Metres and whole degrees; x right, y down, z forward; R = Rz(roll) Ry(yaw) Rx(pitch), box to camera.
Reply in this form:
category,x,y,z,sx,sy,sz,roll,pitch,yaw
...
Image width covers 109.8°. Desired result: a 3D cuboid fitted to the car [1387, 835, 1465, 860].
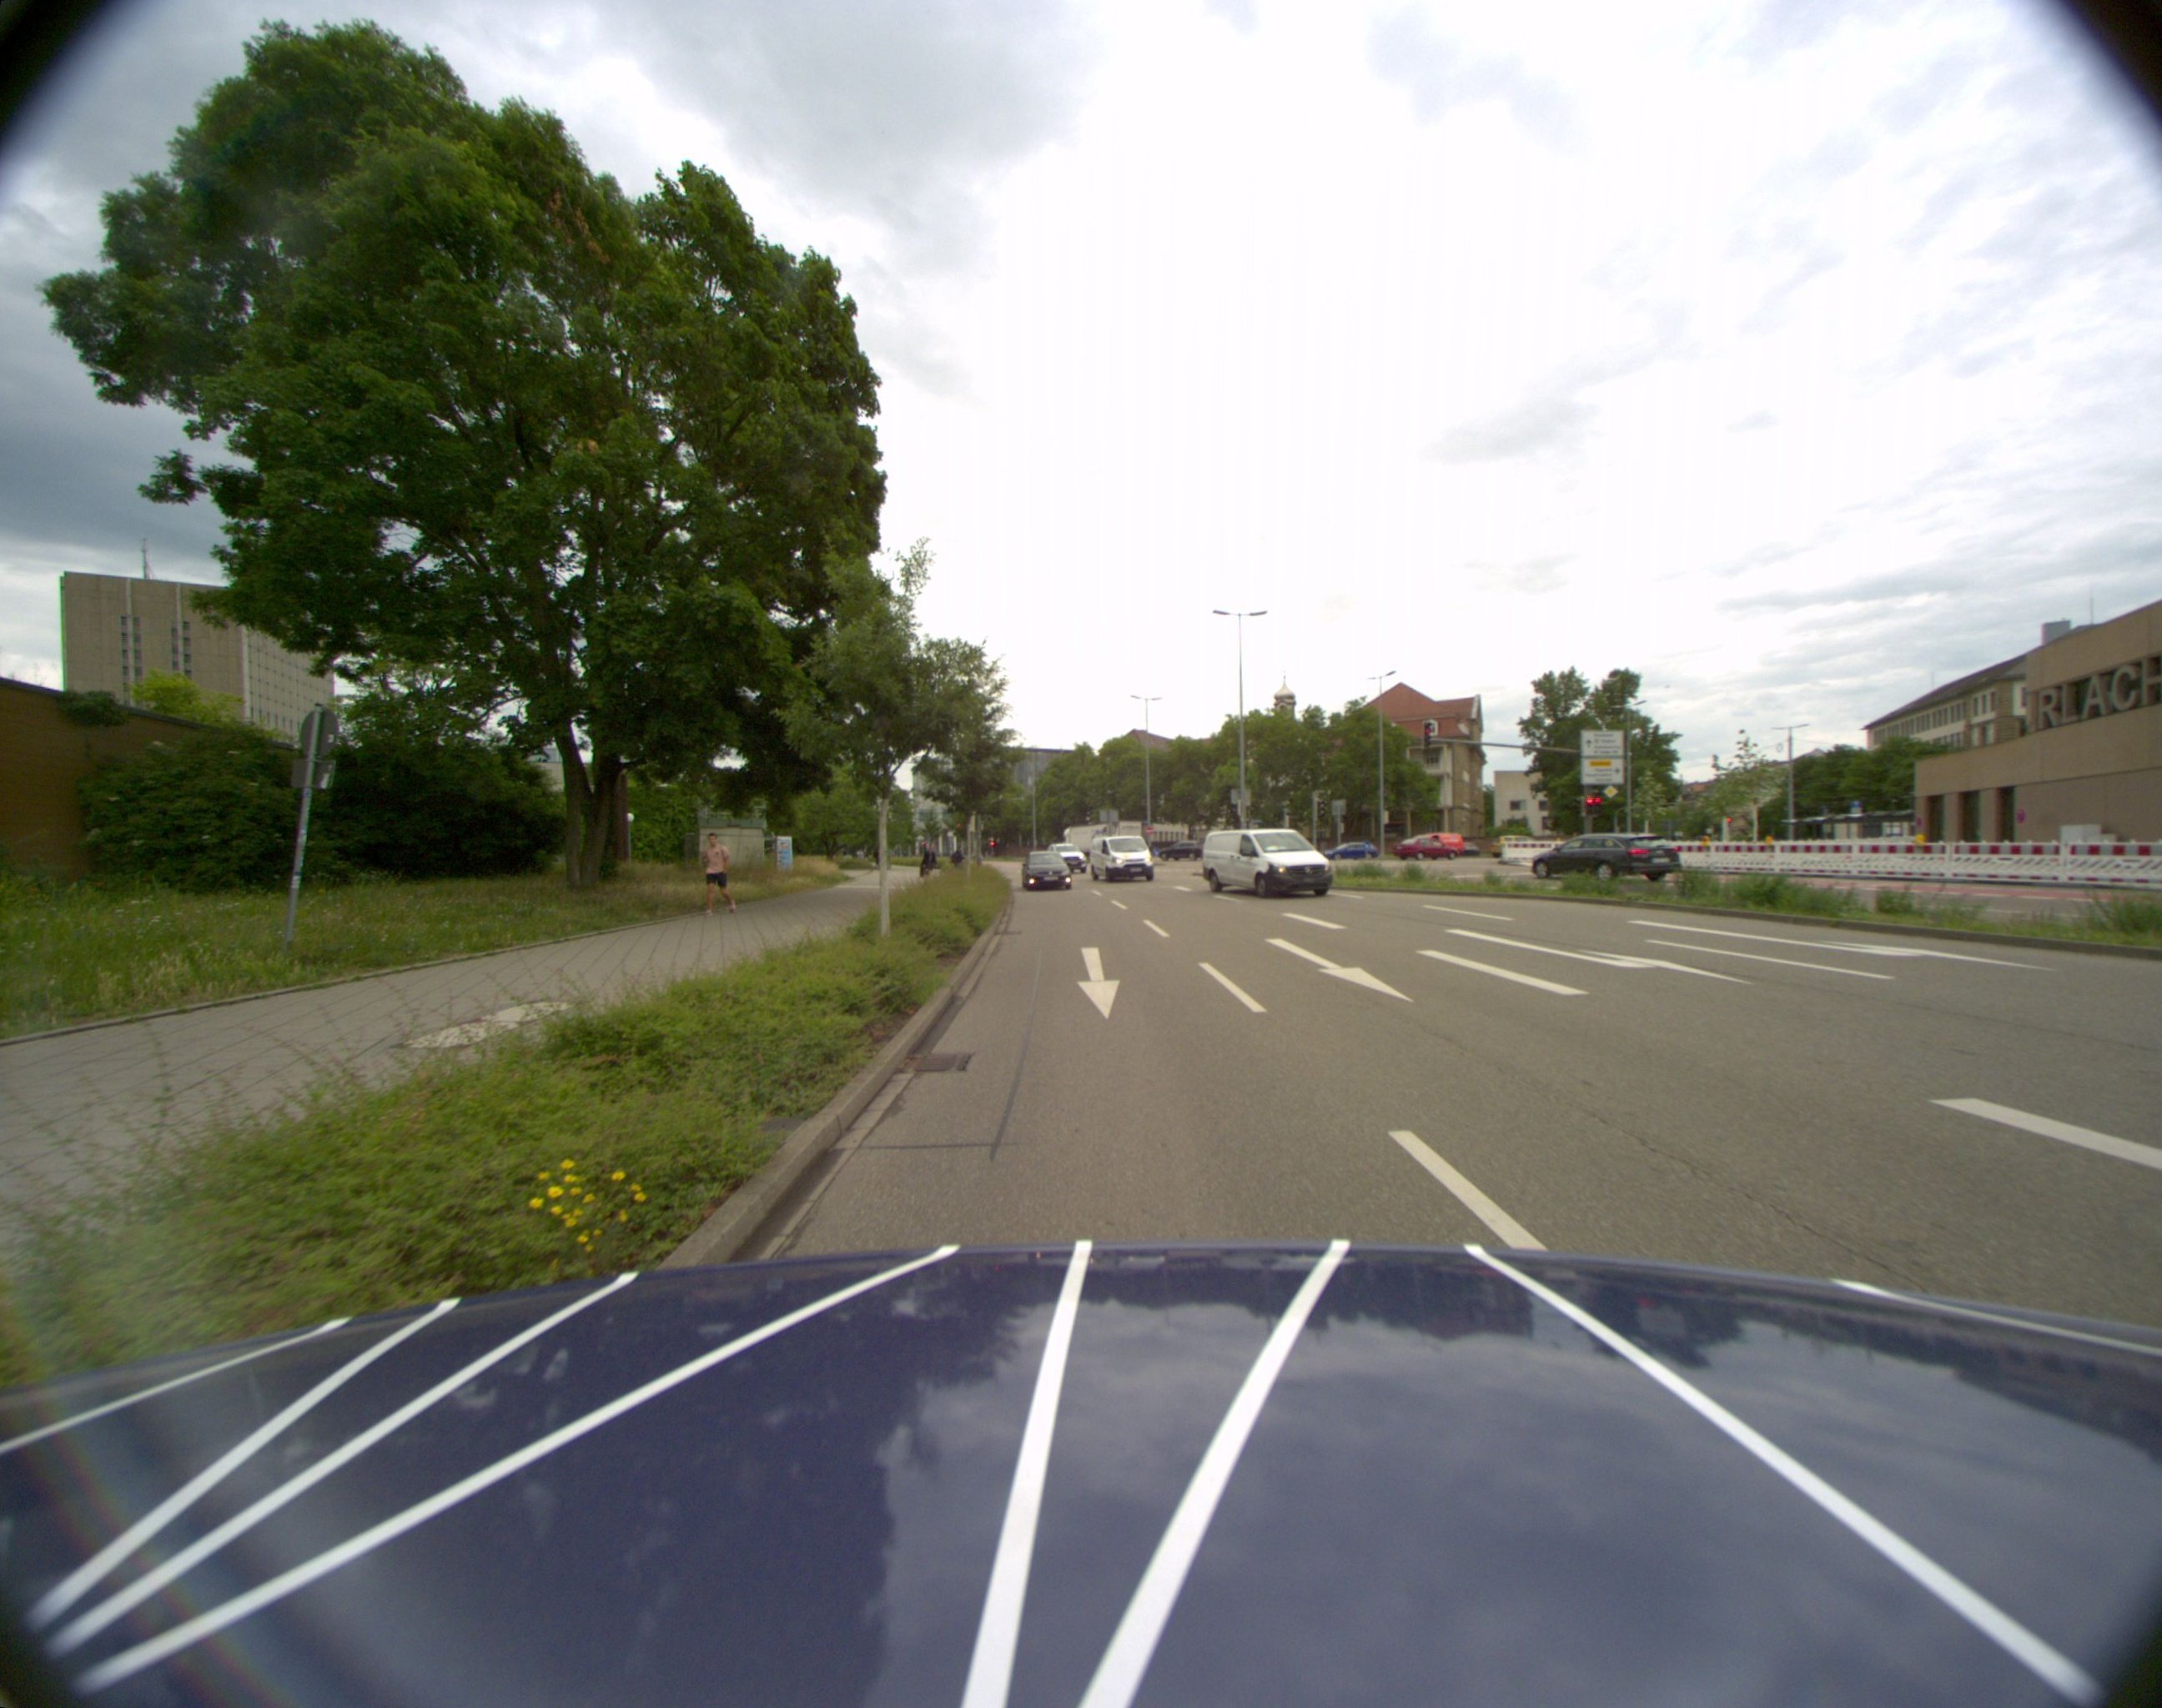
category,x,y,z,sx,sy,sz,roll,pitch,yaw
car,22.180,-0.426,48.837,4.349,1.531,1.910,-1,1,-16

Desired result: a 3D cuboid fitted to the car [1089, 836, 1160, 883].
category,x,y,z,sx,sy,sz,roll,pitch,yaw
car,1.825,0.210,33.624,2.000,1.931,4.518,-1,1,-12

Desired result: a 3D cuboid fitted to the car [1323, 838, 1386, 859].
category,x,y,z,sx,sy,sz,roll,pitch,yaw
car,21.832,-0.461,60.619,4.347,1.531,1.911,-1,1,-9

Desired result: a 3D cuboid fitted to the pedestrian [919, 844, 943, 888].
category,x,y,z,sx,sy,sz,roll,pitch,yaw
pedestrian,-6.201,0.477,31.459,0.723,1.790,0.596,1,2,-42

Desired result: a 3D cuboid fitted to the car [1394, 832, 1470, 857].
category,x,y,z,sx,sy,sz,roll,pitch,yaw
car,25.851,-0.728,55.960,5.247,1.707,1.910,-1,1,-19

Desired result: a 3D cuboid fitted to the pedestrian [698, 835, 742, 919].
category,x,y,z,sx,sy,sz,roll,pitch,yaw
pedestrian,-7.882,0.498,16.600,0.630,1.790,0.597,2,1,1

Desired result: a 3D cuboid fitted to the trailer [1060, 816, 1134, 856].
category,x,y,z,sx,sy,sz,roll,pitch,yaw
trailer,1.518,-1.854,85.192,2.950,3.990,13.785,-3,1,-22

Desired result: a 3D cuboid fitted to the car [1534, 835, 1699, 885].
category,x,y,z,sx,sy,sz,roll,pitch,yaw
car,16.333,0.156,23.464,2.000,1.390,3.997,-1,1,-7

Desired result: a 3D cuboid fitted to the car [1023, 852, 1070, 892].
category,x,y,z,sx,sy,sz,roll,pitch,yaw
car,-1.369,0.633,29.454,1.656,1.404,3.998,-1,1,-4

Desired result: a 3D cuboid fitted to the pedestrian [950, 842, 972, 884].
category,x,y,z,sx,sy,sz,roll,pitch,yaw
pedestrian,-5.317,0.400,33.722,0.723,1.790,0.596,1,2,-42

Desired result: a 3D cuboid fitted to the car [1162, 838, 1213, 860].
category,x,y,z,sx,sy,sz,roll,pitch,yaw
car,9.207,-0.446,65.955,2.004,1.718,3.989,-3,1,-44

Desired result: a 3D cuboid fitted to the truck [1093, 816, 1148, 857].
category,x,y,z,sx,sy,sz,roll,pitch,yaw
truck,3.990,-1.774,78.841,2.917,4.002,7.148,-3,1,-22

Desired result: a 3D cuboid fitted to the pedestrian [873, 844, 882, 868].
category,x,y,z,sx,sy,sz,roll,pitch,yaw
pedestrian,-15.355,0.167,57.419,0.598,1.790,0.518,2,1,-19

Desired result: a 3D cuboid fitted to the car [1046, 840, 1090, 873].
category,x,y,z,sx,sy,sz,roll,pitch,yaw
car,-0.845,0.121,46.527,2.090,1.838,4.747,-1,1,-8

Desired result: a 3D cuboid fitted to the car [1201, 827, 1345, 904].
category,x,y,z,sx,sy,sz,roll,pitch,yaw
car,5.317,0.268,21.911,1.924,1.871,5.083,-3,1,-12
